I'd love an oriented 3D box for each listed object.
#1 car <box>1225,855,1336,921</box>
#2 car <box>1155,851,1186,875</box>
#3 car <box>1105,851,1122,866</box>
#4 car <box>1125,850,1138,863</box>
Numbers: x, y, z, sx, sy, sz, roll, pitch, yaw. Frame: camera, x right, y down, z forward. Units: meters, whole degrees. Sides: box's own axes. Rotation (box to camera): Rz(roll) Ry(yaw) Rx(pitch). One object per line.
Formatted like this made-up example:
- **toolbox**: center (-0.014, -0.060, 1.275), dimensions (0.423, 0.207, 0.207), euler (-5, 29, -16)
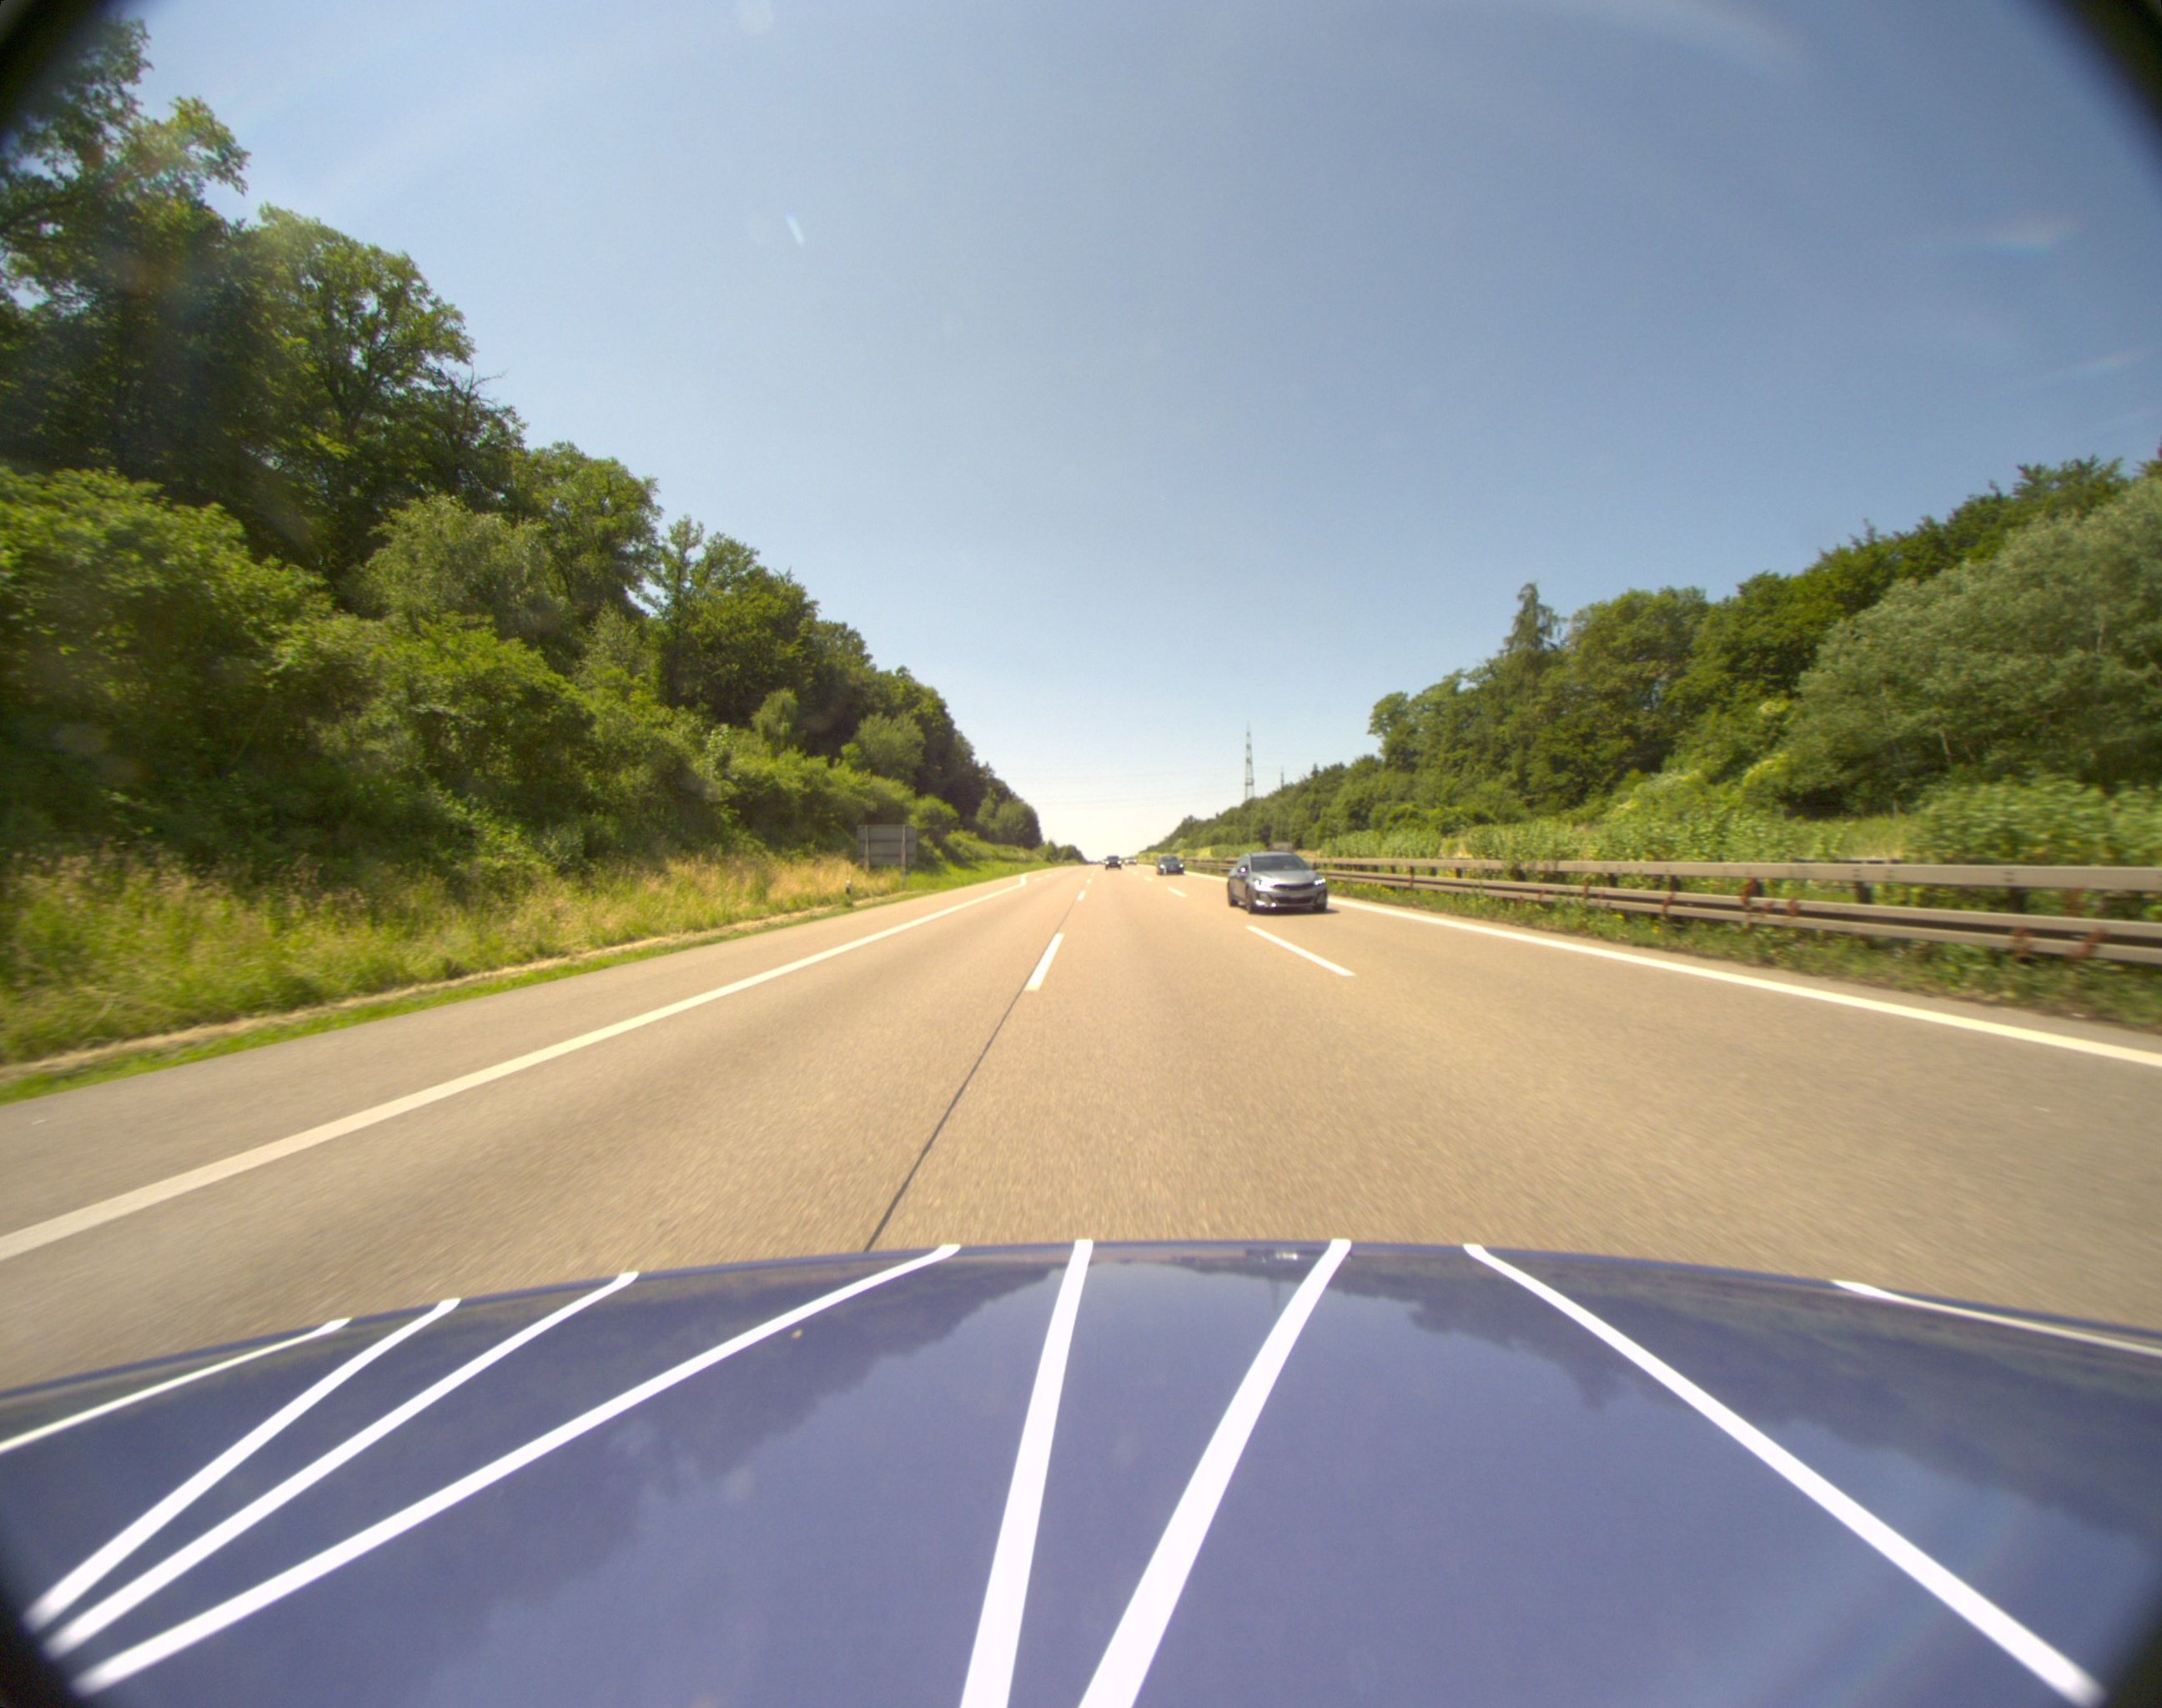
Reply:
- **car**: center (4.844, 0.762, 19.022), dimensions (1.768, 1.400, 3.999), euler (-3, 0, 1)
- **car**: center (6.477, 0.653, 55.465), dimensions (1.742, 1.610, 3.943), euler (-3, 0, 0)
- **car**: center (3.749, 0.515, 88.389), dimensions (1.788, 1.550, 3.943), euler (-3, 0, 0)
- **car**: center (8.417, 0.399, 127.006), dimensions (1.875, 2.002, 4.000), euler (-3, 0, 1)
